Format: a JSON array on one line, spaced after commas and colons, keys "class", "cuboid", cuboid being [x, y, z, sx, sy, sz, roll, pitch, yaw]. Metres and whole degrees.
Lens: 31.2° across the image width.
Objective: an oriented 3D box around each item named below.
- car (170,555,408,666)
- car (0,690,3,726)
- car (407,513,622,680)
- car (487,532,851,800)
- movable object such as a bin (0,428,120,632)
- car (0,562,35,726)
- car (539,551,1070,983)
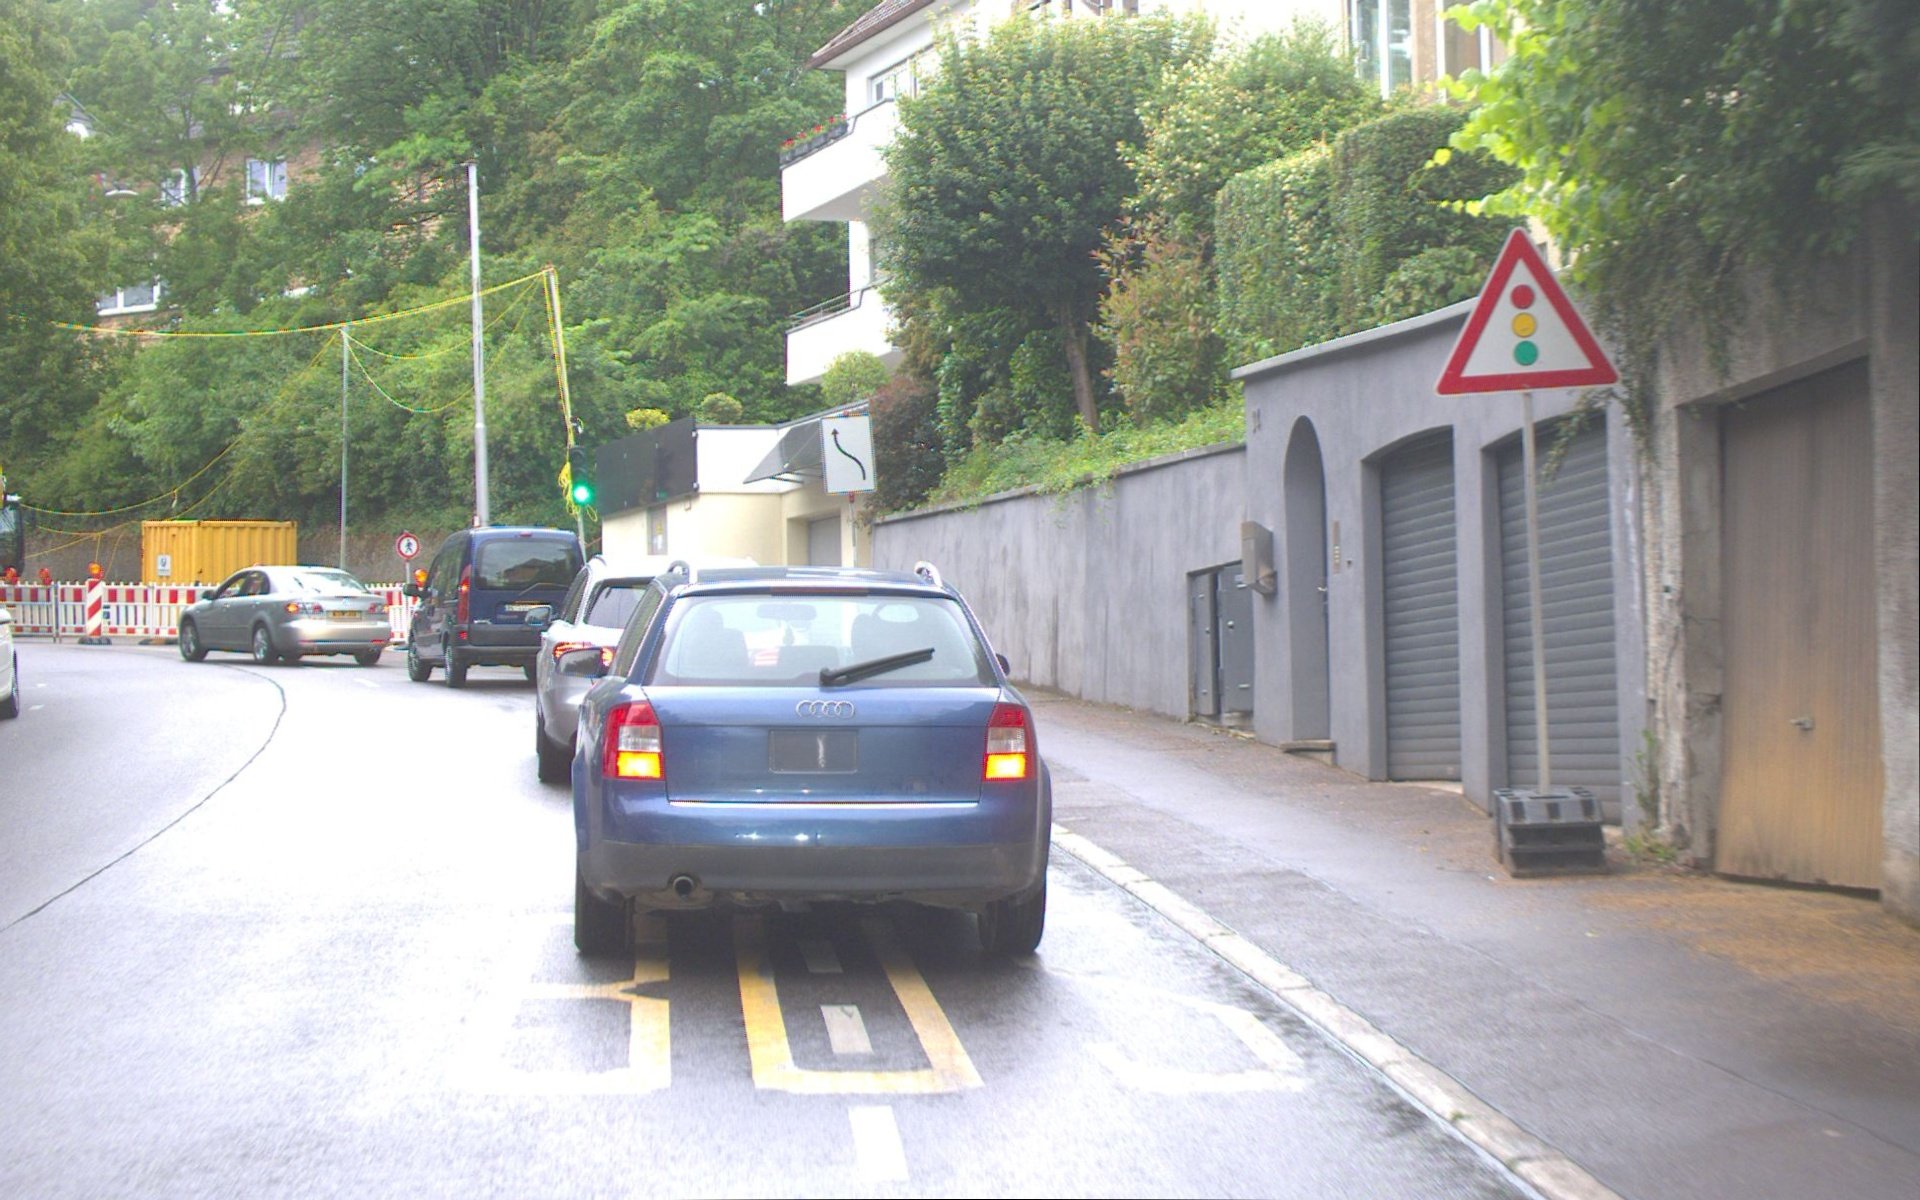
[{"class": "car", "cuboid": [-9.693, 0.146, 49.479, 1.721, 1.481, 4.075, -3, 1, -37]}, {"class": "car", "cuboid": [-9.016, 0.429, 28.219, 1.681, 1.603, 4.578, -5, 2, -10]}, {"class": "car", "cuboid": [-5.268, -0.064, 40.267, 1.993, 1.787, 4.001, -2, 1, -14]}, {"class": "car", "cuboid": [-2.062, 0.355, 23.160, 1.925, 1.612, 4.322, 0, 1, -12]}, {"class": "movable object such as a bin", "cuboid": [-20.380, -1.442, 70.687, 2.821, 4.000, 7.323, -1, 2, -43]}, {"class": "car", "cuboid": [-10.040, 0.456, 33.120, 1.681, 1.503, 4.317, -4, 2, -10]}, {"class": "car", "cuboid": [-0.663, 0.539, 13.695, 1.785, 1.437, 3.964, -1, 1, -4]}]
